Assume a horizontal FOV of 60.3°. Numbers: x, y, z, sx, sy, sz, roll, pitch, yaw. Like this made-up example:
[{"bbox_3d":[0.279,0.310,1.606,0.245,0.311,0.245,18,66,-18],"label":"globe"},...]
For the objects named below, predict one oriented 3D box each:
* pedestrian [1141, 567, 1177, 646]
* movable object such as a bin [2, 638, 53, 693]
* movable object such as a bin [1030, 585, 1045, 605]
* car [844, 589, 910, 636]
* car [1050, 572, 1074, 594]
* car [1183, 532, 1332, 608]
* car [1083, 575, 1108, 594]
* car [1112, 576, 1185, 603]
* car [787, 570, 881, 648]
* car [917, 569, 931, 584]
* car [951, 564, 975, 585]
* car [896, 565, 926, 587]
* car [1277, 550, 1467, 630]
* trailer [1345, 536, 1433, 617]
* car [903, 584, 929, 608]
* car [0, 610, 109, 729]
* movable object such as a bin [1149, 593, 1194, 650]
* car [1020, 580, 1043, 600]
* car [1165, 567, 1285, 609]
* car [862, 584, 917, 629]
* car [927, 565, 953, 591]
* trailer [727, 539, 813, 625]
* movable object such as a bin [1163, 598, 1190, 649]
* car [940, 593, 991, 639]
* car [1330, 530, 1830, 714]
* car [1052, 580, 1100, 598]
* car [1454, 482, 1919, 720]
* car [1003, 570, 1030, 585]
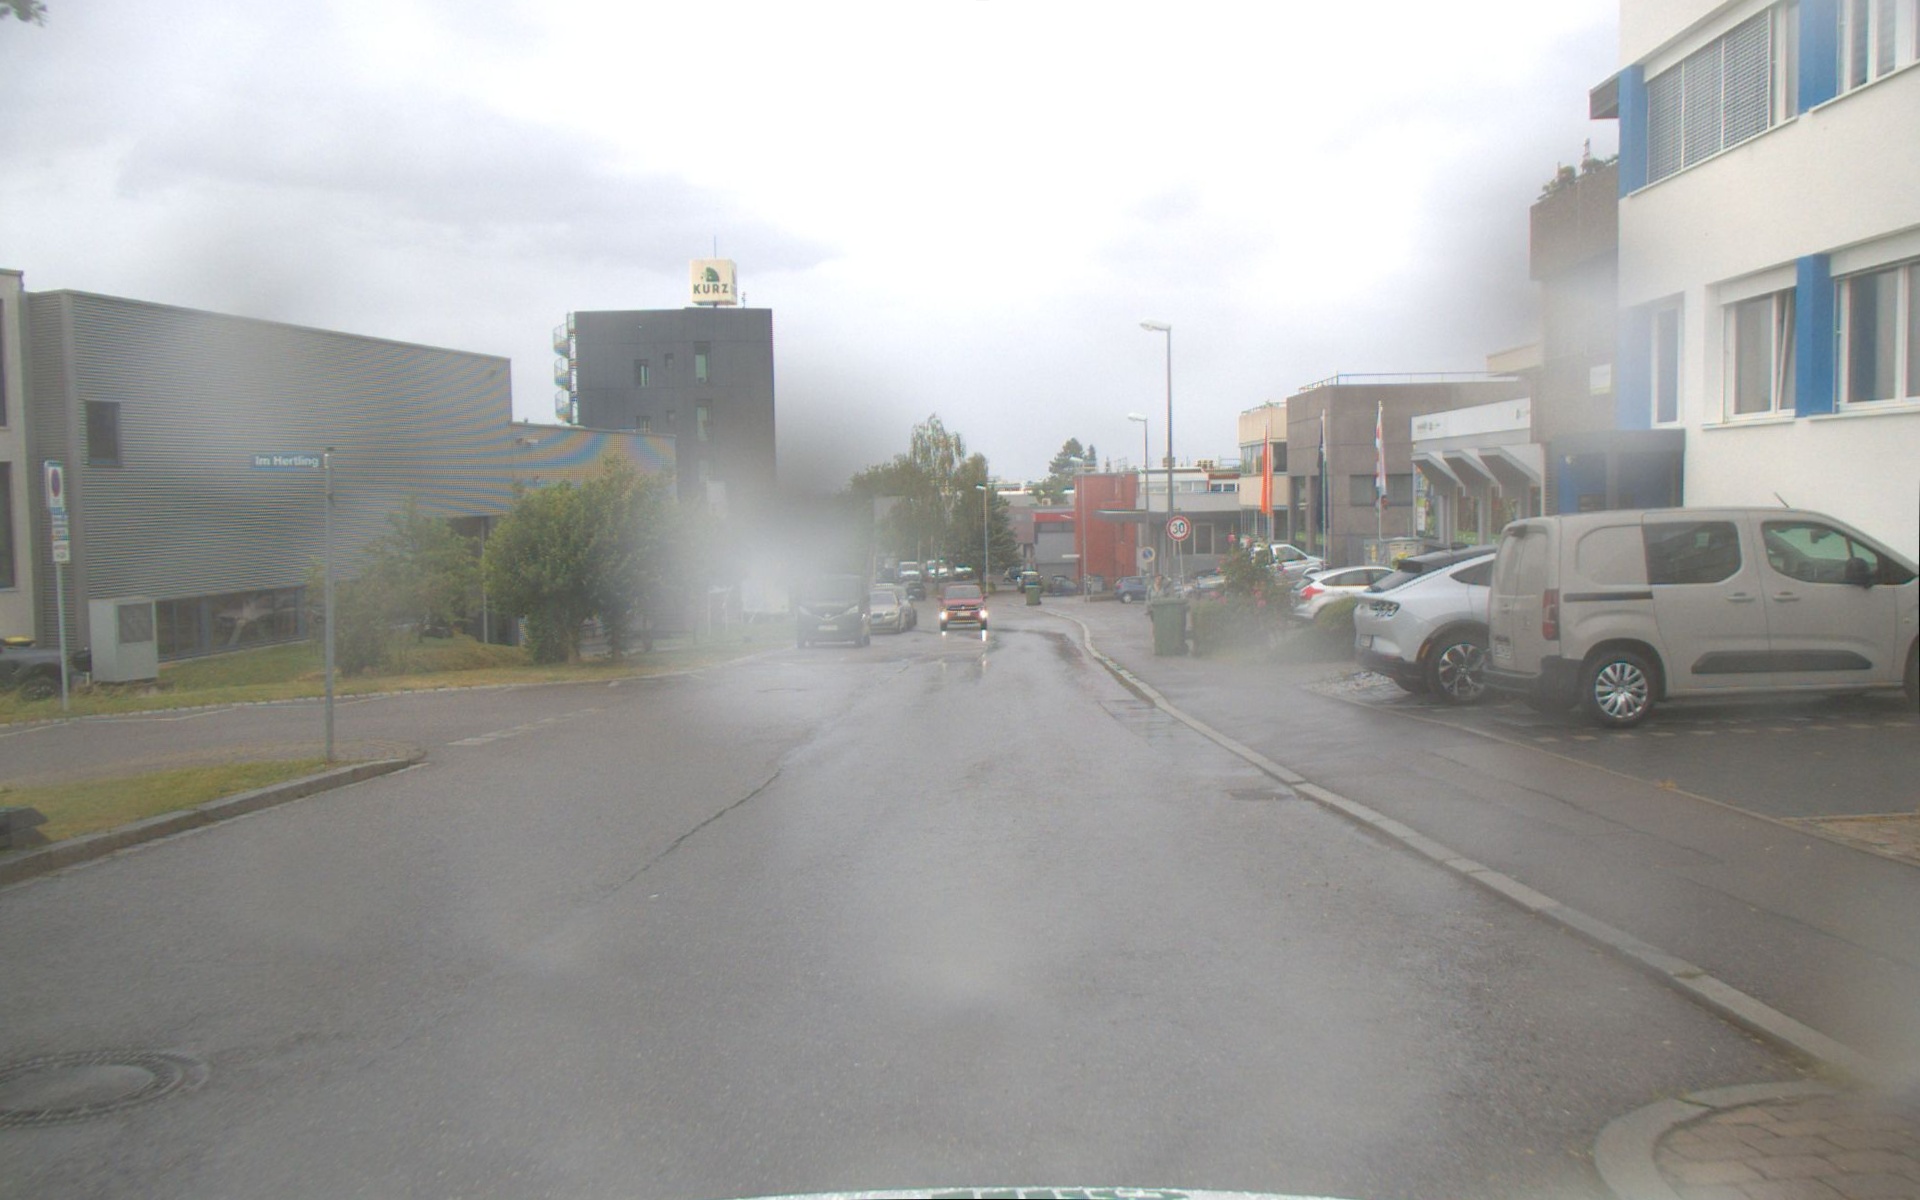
[{"bbox_3d":[4.579,0.146,38.033,0.721,1.798,0.809,-1,0,2],"label":"pedestrian"},{"bbox_3d":[-20.067,1.400,35.588,0.622,1.115,0.673,-3,1,27],"label":"movable object such as a bin"},{"bbox_3d":[4.455,-0.281,95.087,0.790,1.111,0.709,-2,1,-4],"label":"movable object such as a bin"},{"bbox_3d":[-2.859,0.399,58.069,1.916,1.486,5.248,-2,0,1],"label":"car"},{"bbox_3d":[8.356,-1.365,136.192,1.703,1.682,4.000,-2,0,1],"label":"car"},{"bbox_3d":[11.557,-1.143,64.506,5.195,2.046,2.222,-10,0,1],"label":"car"},{"bbox_3d":[11.068,-1.291,135.191,1.693,1.446,4.000,-2,0,1],"label":"car"},{"bbox_3d":[10.299,-0.570,90.720,3.815,1.408,1.821,0,0,0],"label":"car"},{"bbox_3d":[-3.248,0.211,43.427,1.876,1.863,4.849,-1,0,2],"label":"car"},{"bbox_3d":[-3.835,-2.485,176.126,1.265,1.449,2.543,-2,0,-6],"label":"car"},{"bbox_3d":[0.306,-2.641,171.486,2.104,2.049,3.934,-2,0,-6],"label":"car"},{"bbox_3d":[-5.040,-2.441,170.103,2.227,2.049,3.984,-2,0,-14],"label":"car"},{"bbox_3d":[9.962,-0.231,40.197,4.037,1.601,2.004,-4,0,0],"label":"car"},{"bbox_3d":[13.993,-0.804,54.145,1.847,2.458,4.310,-2,2,2],"label":"trailer"},{"bbox_3d":[-3.437,-0.301,129.796,1.917,1.705,4.470,-2,-1,-3],"label":"car"},{"bbox_3d":[-18.284,1.358,29.242,2.086,1.955,5.609,-1,3,24],"label":"car"},{"bbox_3d":[4.022,0.405,31.538,0.755,1.048,0.808,-1,0,2],"label":"movable object such as a bin"},{"bbox_3d":[5.861,-0.805,135.492,1.662,1.501,4.000,-2,0,1],"label":"car"},{"bbox_3d":[11.779,-0.542,73.750,4.987,1.641,1.925,-3,1,0],"label":"car"},{"bbox_3d":[-2.701,0.260,64.446,1.917,1.604,4.839,-3,0,-1],"label":"car"},{"bbox_3d":[-2.079,-2.283,170.513,2.151,2.502,3.993,-2,0,-7],"label":"car"},{"bbox_3d":[-9.938,-0.935,86.369,4.107,4.276,1.996,-2,0,39],"label":"trailer"},{"bbox_3d":[4.340,0.467,33.135,0.462,0.984,0.514,-1,0,2],"label":"movable object such as a bin"},{"bbox_3d":[0.237,0.571,61.444,1.711,1.534,3.936,-4,0,2],"label":"car"},{"bbox_3d":[6.465,0.214,17.672,4.503,1.565,2.079,-4,0,0],"label":"car"},{"bbox_3d":[8.254,-0.776,117.661,3.329,1.183,1.792,-2,1,2],"label":"car"},{"bbox_3d":[6.819,-0.024,14.581,4.252,1.804,2.089,-2,0,-1],"label":"car"},{"bbox_3d":[5.374,-2.127,157.631,2.498,1.375,1.241,-2,1,-5],"label":"car"}]
